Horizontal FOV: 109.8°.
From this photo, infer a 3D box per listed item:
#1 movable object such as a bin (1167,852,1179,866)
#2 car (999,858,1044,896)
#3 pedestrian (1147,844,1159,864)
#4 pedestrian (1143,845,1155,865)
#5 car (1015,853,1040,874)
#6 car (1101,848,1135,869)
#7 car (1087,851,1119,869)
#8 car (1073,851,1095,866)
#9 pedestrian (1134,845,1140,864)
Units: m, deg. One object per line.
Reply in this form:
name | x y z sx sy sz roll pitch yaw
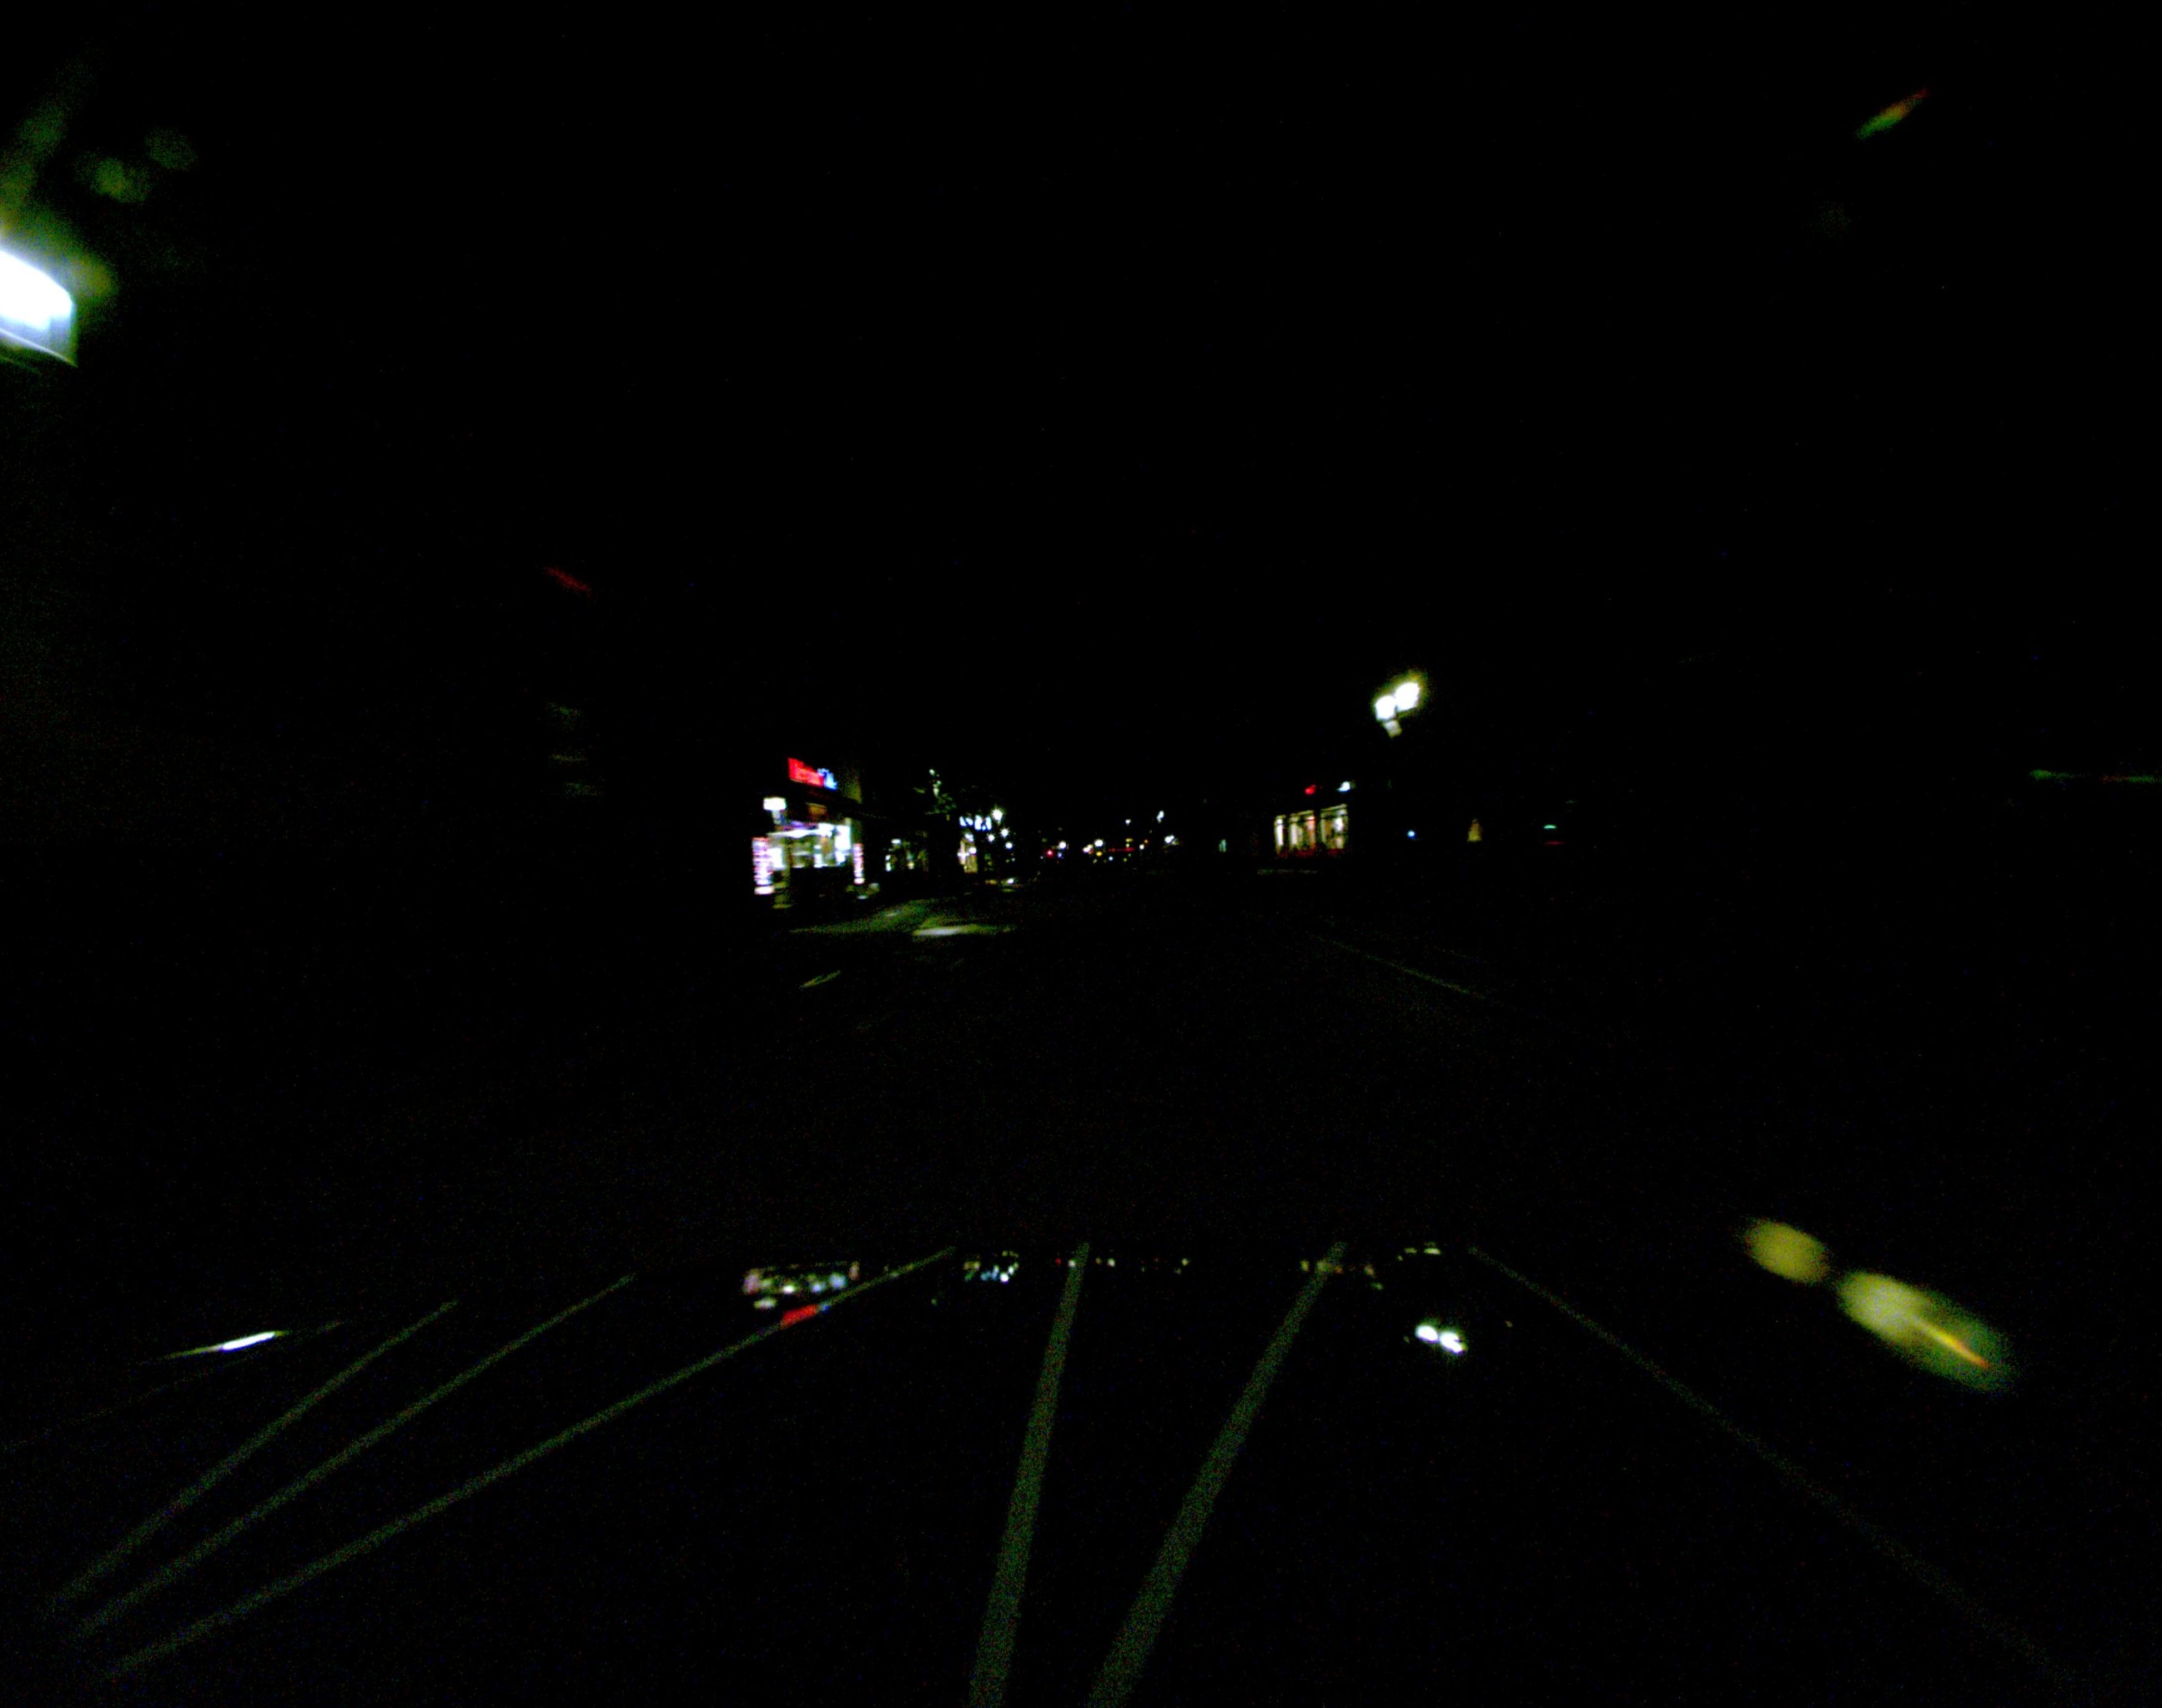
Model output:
movable object such as a bin | 7.408 0.381 61.079 0.749 1.059 0.791 -3 2 -10
car | -2.544 0.936 32.538 1.739 1.432 4.495 -2 0 -4
pedestrian | 6.930 0.019 73.102 0.793 1.807 1.024 -4 1 14
pedestrian | 6.596 0.113 73.716 0.879 1.821 0.791 -4 1 17
car | -4.430 0.731 61.975 1.747 1.479 4.632 -3 1 -7
car | 3.171 0.392 66.208 1.764 1.628 4.810 -3 0 -10
car | 2.055 0.522 72.183 1.911 1.533 4.777 -4 1 -12
car | 0.290 0.468 82.969 1.776 1.565 4.479 -4 1 -8
pedestrian | 5.418 -0.001 73.554 0.502 1.811 0.503 -2 2 9
